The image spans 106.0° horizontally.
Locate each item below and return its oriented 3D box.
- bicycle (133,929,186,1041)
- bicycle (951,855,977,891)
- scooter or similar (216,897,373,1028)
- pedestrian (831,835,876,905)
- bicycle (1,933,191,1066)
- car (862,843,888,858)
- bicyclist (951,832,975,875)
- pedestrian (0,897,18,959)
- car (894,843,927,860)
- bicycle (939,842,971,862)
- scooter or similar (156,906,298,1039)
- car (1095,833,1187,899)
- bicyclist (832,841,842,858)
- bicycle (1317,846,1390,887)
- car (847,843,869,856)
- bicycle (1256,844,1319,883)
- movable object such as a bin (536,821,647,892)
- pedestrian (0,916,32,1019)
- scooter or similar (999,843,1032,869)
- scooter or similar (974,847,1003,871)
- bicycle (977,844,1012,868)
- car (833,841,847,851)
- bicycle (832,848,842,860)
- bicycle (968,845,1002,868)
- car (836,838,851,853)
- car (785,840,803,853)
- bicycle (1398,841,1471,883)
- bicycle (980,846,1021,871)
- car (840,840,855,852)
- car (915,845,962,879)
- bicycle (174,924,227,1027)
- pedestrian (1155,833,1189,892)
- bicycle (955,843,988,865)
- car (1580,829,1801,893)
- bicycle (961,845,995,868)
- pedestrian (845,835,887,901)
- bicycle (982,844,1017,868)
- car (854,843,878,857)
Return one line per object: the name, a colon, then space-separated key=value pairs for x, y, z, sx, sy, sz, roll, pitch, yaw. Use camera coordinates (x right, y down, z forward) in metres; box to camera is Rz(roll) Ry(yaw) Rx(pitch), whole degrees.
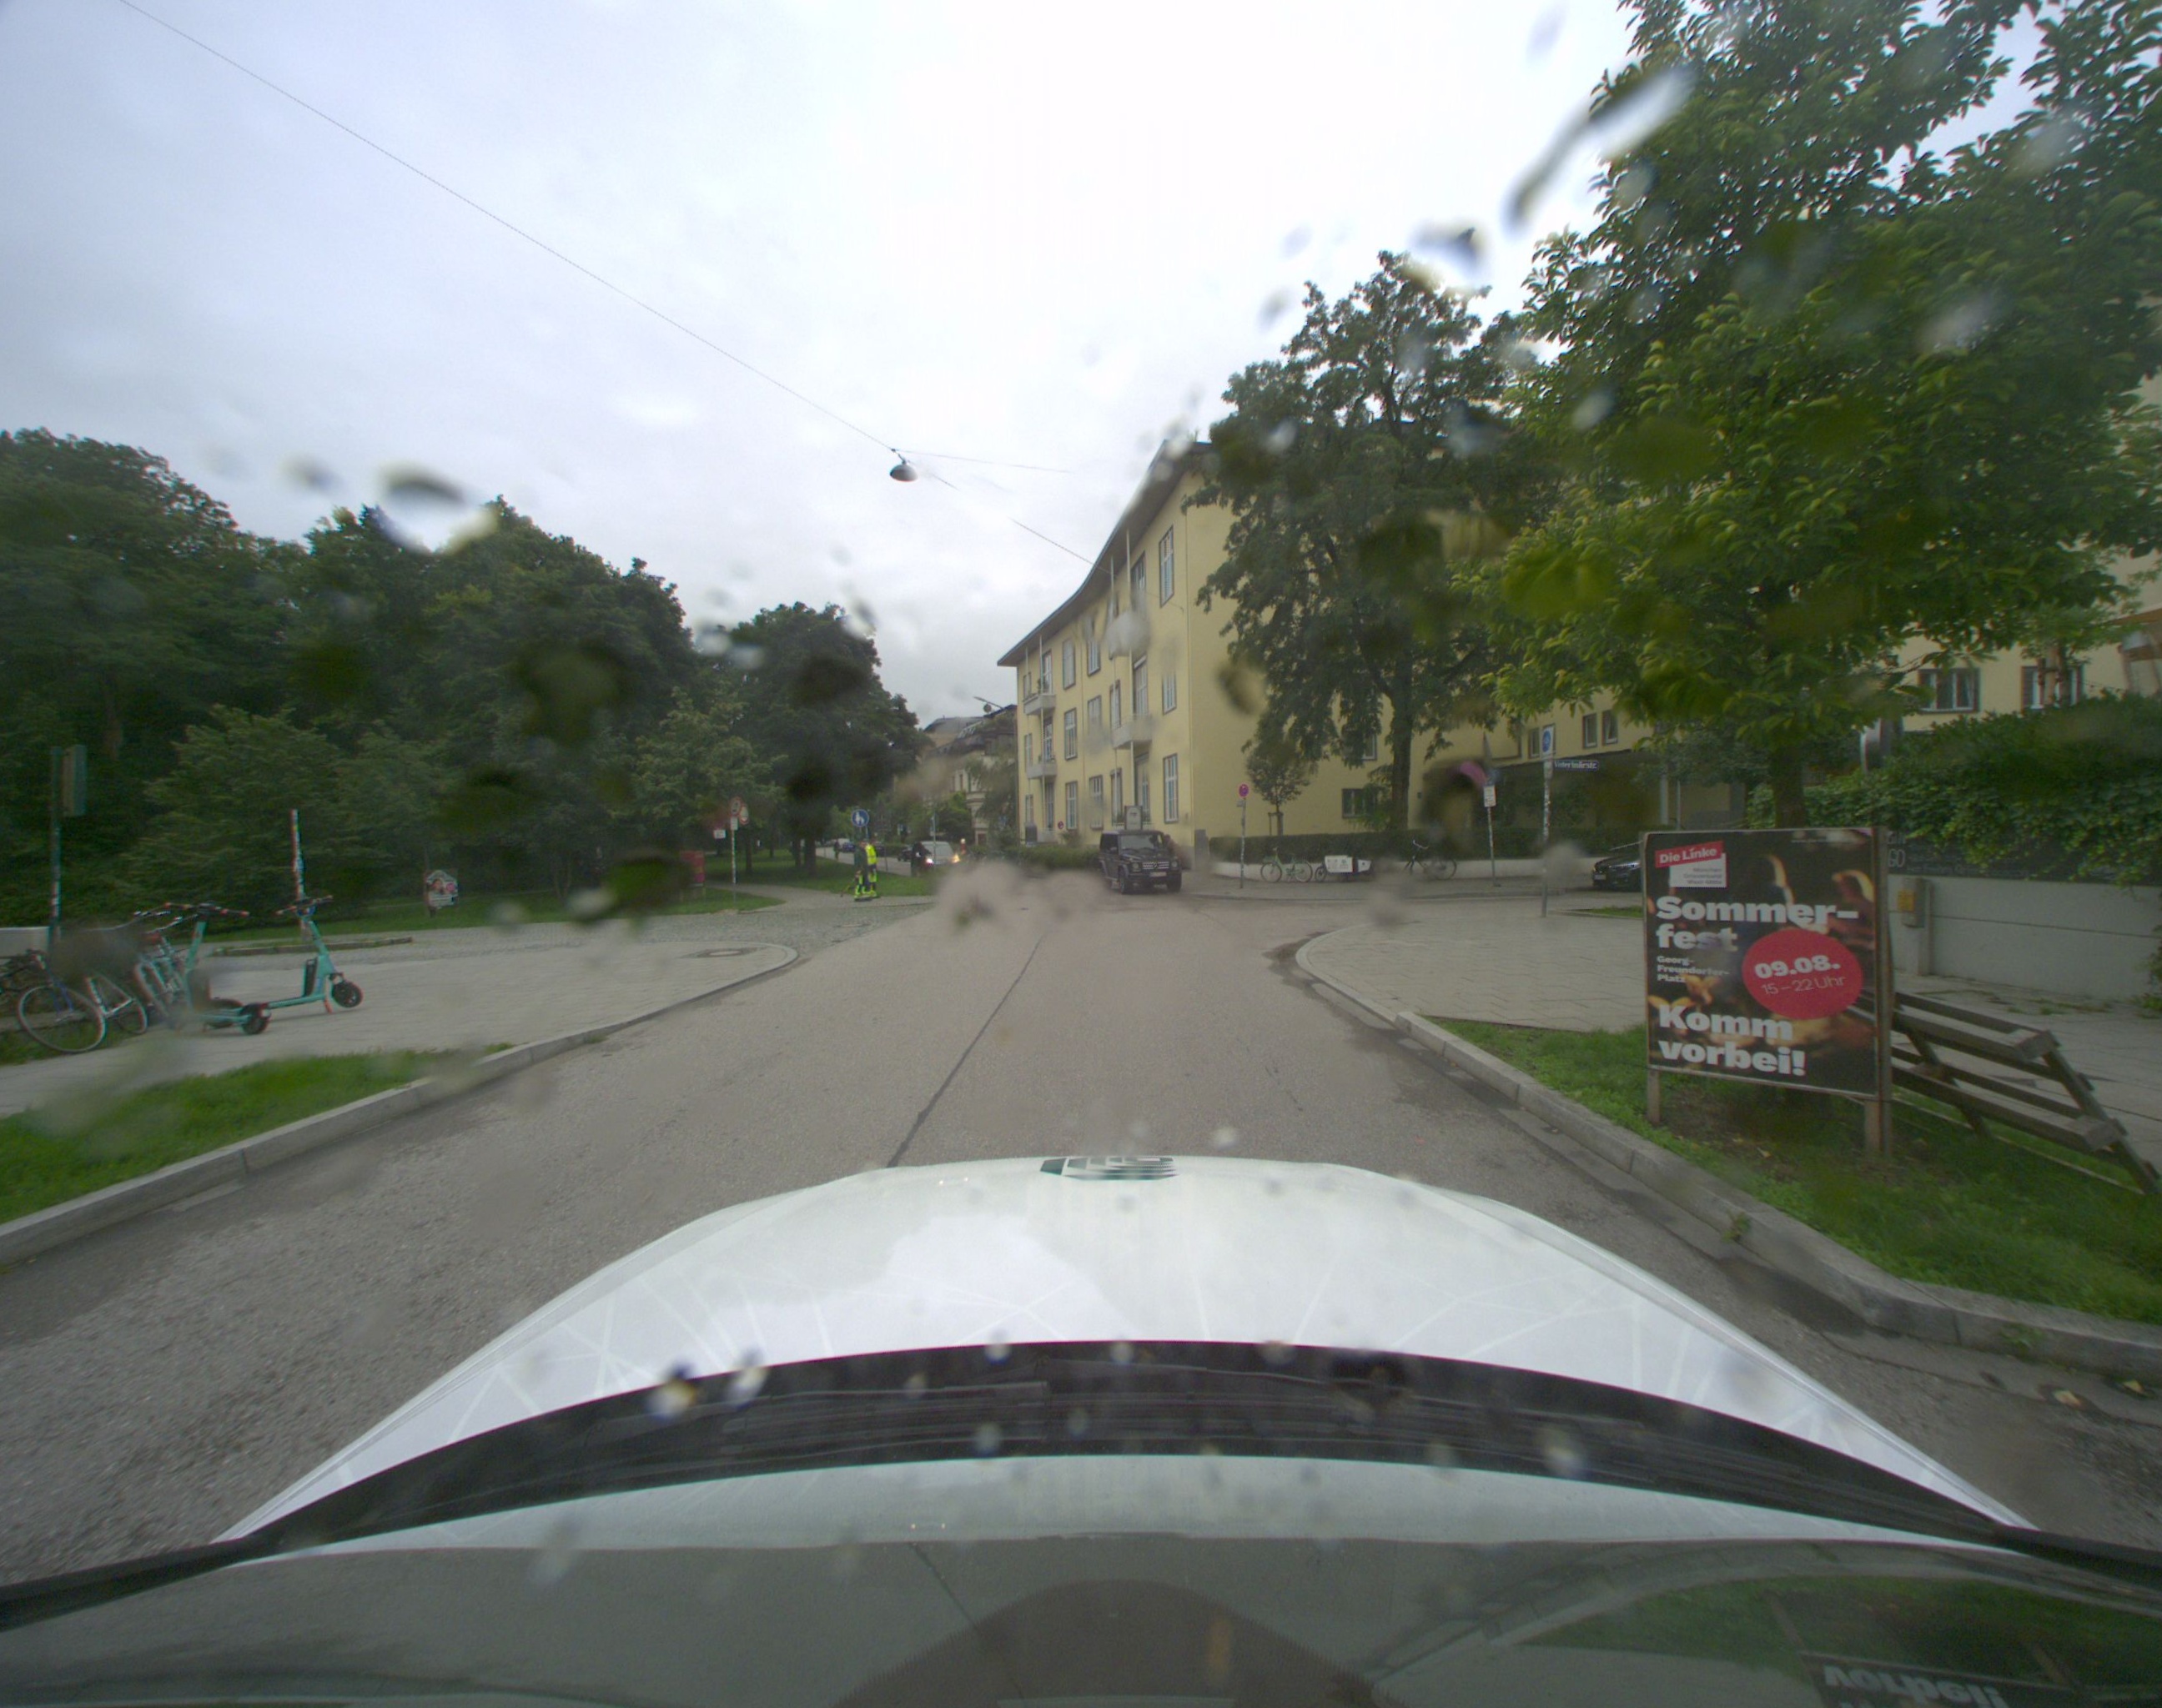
bicycle: x=-9.716 y=1.337 z=8.576 sx=1.564 sy=0.990 sz=0.303 roll=-1 pitch=1 yaw=40
bicycle: x=-4.284 y=0.660 z=29.798 sx=0.744 sy=1.214 sz=2.135 roll=-2 pitch=1 yaw=-12
scooter or similar: x=-8.187 y=1.089 z=8.510 sx=0.341 sy=1.188 sz=1.126 roll=0 pitch=1 yaw=40
pedestrian: x=-6.756 y=0.466 z=24.240 sx=0.927 sy=2.013 sz=0.958 roll=-1 pitch=1 yaw=6
bicycle: x=-8.778 y=1.254 z=7.315 sx=0.543 sy=0.974 sz=1.147 roll=-2 pitch=-1 yaw=-18
car: x=-22.460 y=-0.389 z=88.790 sx=2.003 sy=1.606 sz=3.967 roll=-2 pitch=1 yaw=-25
bicyclist: x=-4.311 y=-0.039 z=29.805 sx=0.744 sy=1.521 sz=0.941 roll=-2 pitch=1 yaw=-13
pedestrian: x=-30.377 y=2.065 z=22.440 sx=0.938 sy=1.687 sz=0.891 roll=-2 pitch=1 yaw=4
car: x=-14.838 y=-0.224 z=70.750 sx=2.002 sy=1.372 sz=3.970 roll=-2 pitch=1 yaw=-23
bicycle: x=-8.861 y=-0.141 z=57.210 sx=2.153 sy=1.305 sz=0.731 roll=-2 pitch=1 yaw=-16
scooter or similar: x=-8.088 y=1.115 z=7.720 sx=1.108 sy=1.188 sz=0.346 roll=-2 pitch=1 yaw=11
car: x=1.810 y=0.309 z=26.063 sx=1.763 sy=1.874 sz=4.363 roll=2 pitch=1 yaw=-11
bicyclist: x=-22.019 y=-0.387 z=73.458 sx=0.798 sy=1.470 sz=0.887 roll=-2 pitch=1 yaw=-23
bicycle: x=8.259 y=0.362 z=24.681 sx=2.049 sy=1.201 sz=0.599 roll=-1 pitch=1 yaw=24
car: x=-27.109 y=-0.542 z=98.980 sx=2.003 sy=1.606 sz=3.967 roll=-2 pitch=1 yaw=-25
bicycle: x=6.623 y=0.293 z=26.179 sx=0.599 sy=1.201 sz=1.904 roll=-2 pitch=0 yaw=-43
movable object such as a bin: x=-23.488 y=0.084 z=39.213 sx=1.974 sy=3.213 sz=4.026 roll=-2 pitch=1 yaw=36
pedestrian: x=-14.784 y=1.548 z=10.637 sx=0.773 sy=1.329 sz=0.993 roll=-3 pitch=1 yaw=-5
scooter or similar: x=-3.518 y=0.108 z=43.911 sx=0.725 sy=1.305 sz=2.169 roll=-1 pitch=1 yaw=26
scooter or similar: x=-5.461 y=0.285 z=48.223 sx=0.725 sy=1.305 sz=1.742 roll=-1 pitch=1 yaw=34
bicycle: x=-5.063 y=0.103 z=47.828 sx=0.725 sy=1.305 sz=2.170 roll=-1 pitch=1 yaw=37
car: x=-39.228 y=-1.280 z=132.637 sx=1.997 sy=1.606 sz=3.979 roll=-2 pitch=1 yaw=-15
bicycle: x=-22.045 y=0.002 z=73.505 sx=0.642 sy=0.967 sz=1.980 roll=-2 pitch=1 yaw=-22
bicycle: x=-5.741 y=0.161 z=48.799 sx=0.725 sy=1.305 sz=2.170 roll=-1 pitch=1 yaw=37
car: x=-35.455 y=-1.200 z=121.843 sx=1.997 sy=2.159 sz=3.979 roll=-2 pitch=1 yaw=-15
car: x=-39.011 y=-0.976 z=110.603 sx=2.002 sy=1.691 sz=3.970 roll=-3 pitch=1 yaw=-23
bicycle: x=10.506 y=0.229 z=24.253 sx=1.912 sy=1.201 sz=0.596 roll=-1 pitch=1 yaw=5
bicycle: x=-4.436 y=0.224 z=44.848 sx=2.165 sy=1.305 sz=0.726 roll=-2 pitch=1 yaw=-36
car: x=-32.429 y=-1.134 z=113.209 sx=1.997 sy=1.606 sz=3.979 roll=-2 pitch=1 yaw=-15
car: x=-6.927 y=0.355 z=39.355 sx=1.917 sy=1.471 sz=3.981 roll=-1 pitch=1 yaw=-14
bicycle: x=-9.907 y=1.327 z=9.148 sx=1.564 sy=0.990 sz=0.303 roll=-1 pitch=1 yaw=40
pedestrian: x=2.896 y=0.259 z=26.082 sx=0.874 sy=1.823 sz=0.796 roll=-1 pitch=1 yaw=-10
bicycle: x=-6.904 y=-0.002 z=51.268 sx=0.725 sy=1.305 sz=2.170 roll=-1 pitch=1 yaw=37
car: x=15.263 y=0.182 z=20.582 sx=4.227 sy=1.446 sz=1.699 roll=-2 pitch=0 yaw=3
bicycle: x=-6.257 y=0.131 z=49.506 sx=0.725 sy=1.305 sz=2.170 roll=-1 pitch=1 yaw=37
pedestrian: x=-6.651 y=0.417 z=25.261 sx=0.927 sy=2.013 sz=0.958 roll=-1 pitch=1 yaw=6
bicycle: x=-4.685 y=0.122 z=46.964 sx=0.725 sy=1.305 sz=2.170 roll=-1 pitch=1 yaw=37
car: x=-24.774 y=-0.466 z=93.886 sx=2.003 sy=1.606 sz=3.967 roll=-2 pitch=1 yaw=-25
